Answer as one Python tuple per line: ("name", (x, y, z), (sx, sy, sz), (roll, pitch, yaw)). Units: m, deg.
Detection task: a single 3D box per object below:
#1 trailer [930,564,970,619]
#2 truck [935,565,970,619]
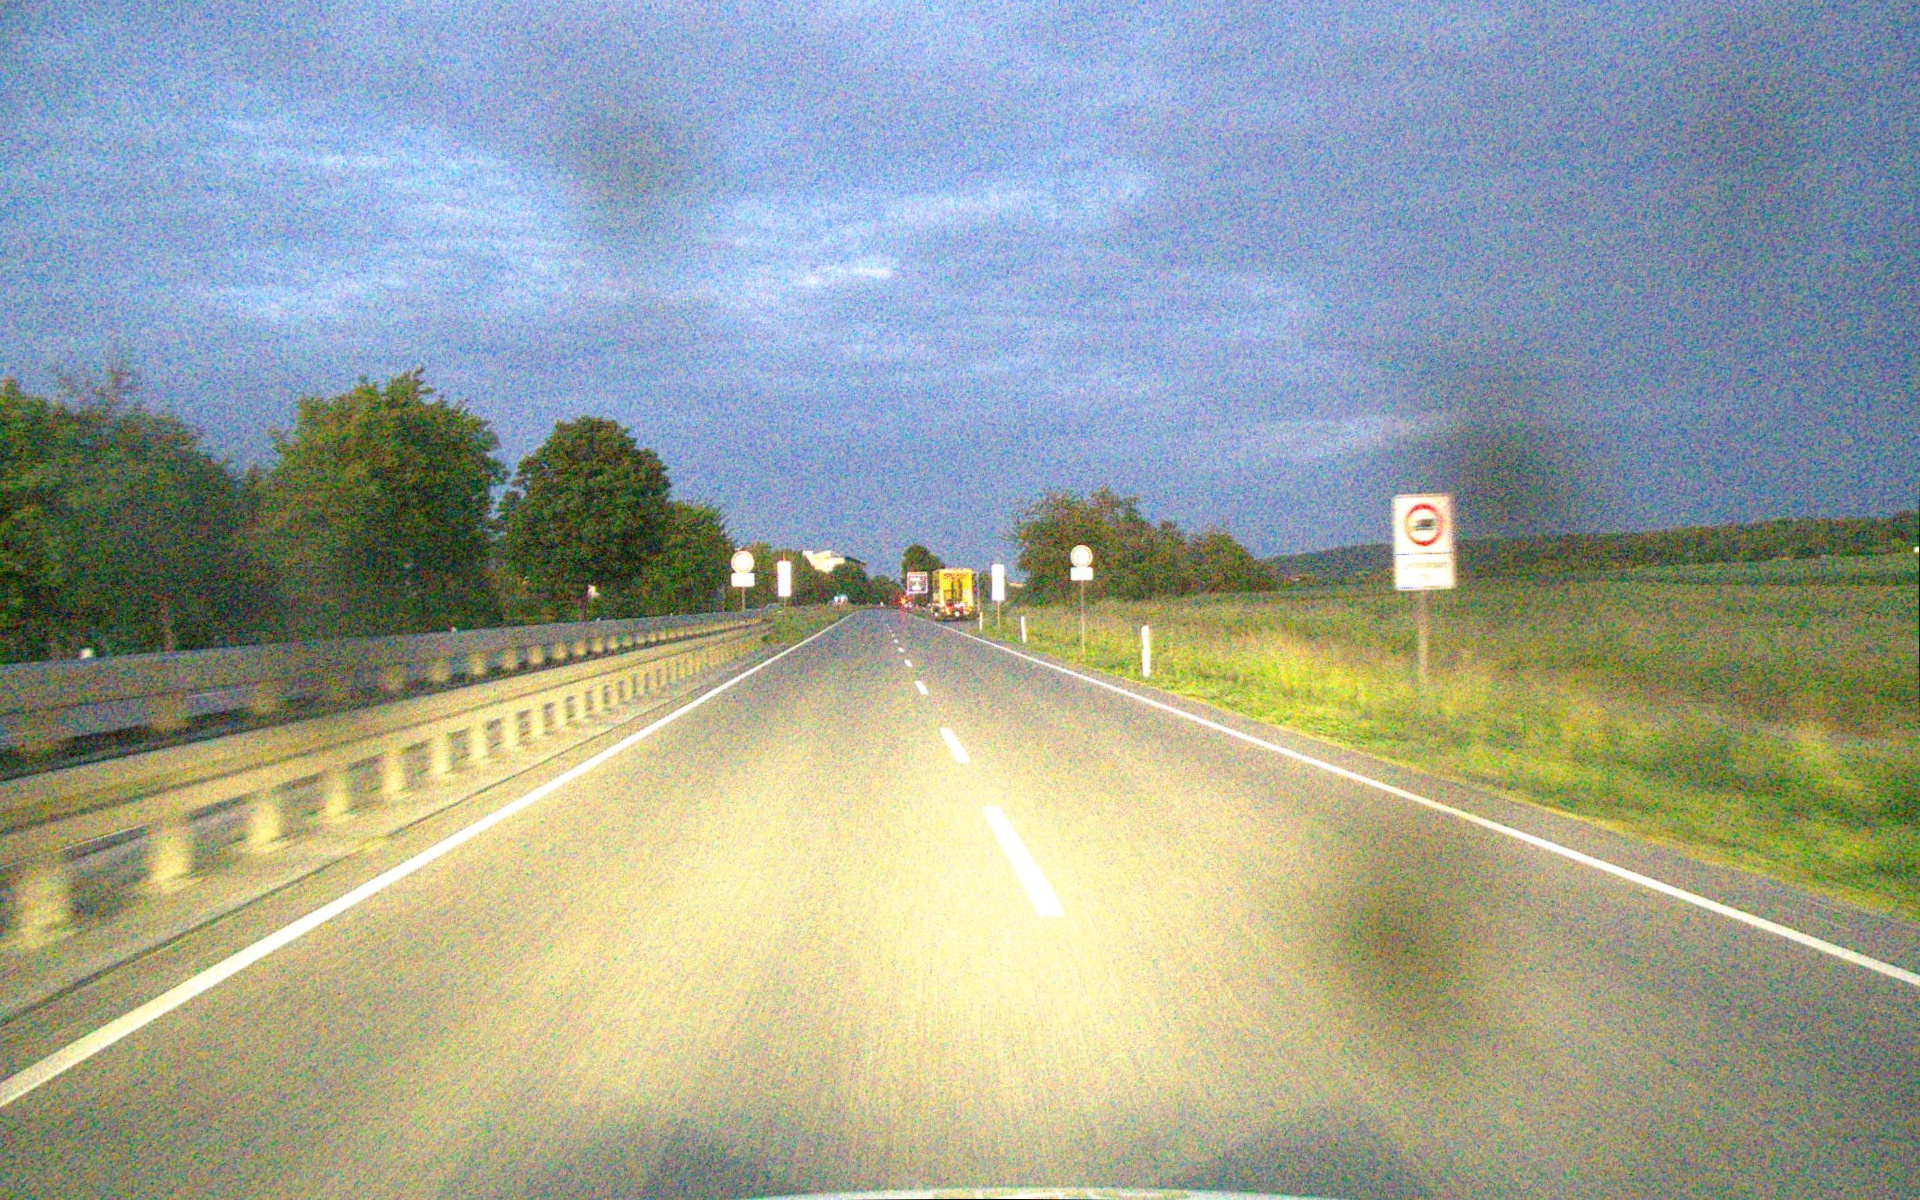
("trailer", (-0.900, -0.681, 135.837), (2.570, 4.175, 12.929), (-1, 0, -3))
("truck", (-0.612, -0.640, 128.950), (2.527, 4.142, 6.127), (0, 1, -2))
